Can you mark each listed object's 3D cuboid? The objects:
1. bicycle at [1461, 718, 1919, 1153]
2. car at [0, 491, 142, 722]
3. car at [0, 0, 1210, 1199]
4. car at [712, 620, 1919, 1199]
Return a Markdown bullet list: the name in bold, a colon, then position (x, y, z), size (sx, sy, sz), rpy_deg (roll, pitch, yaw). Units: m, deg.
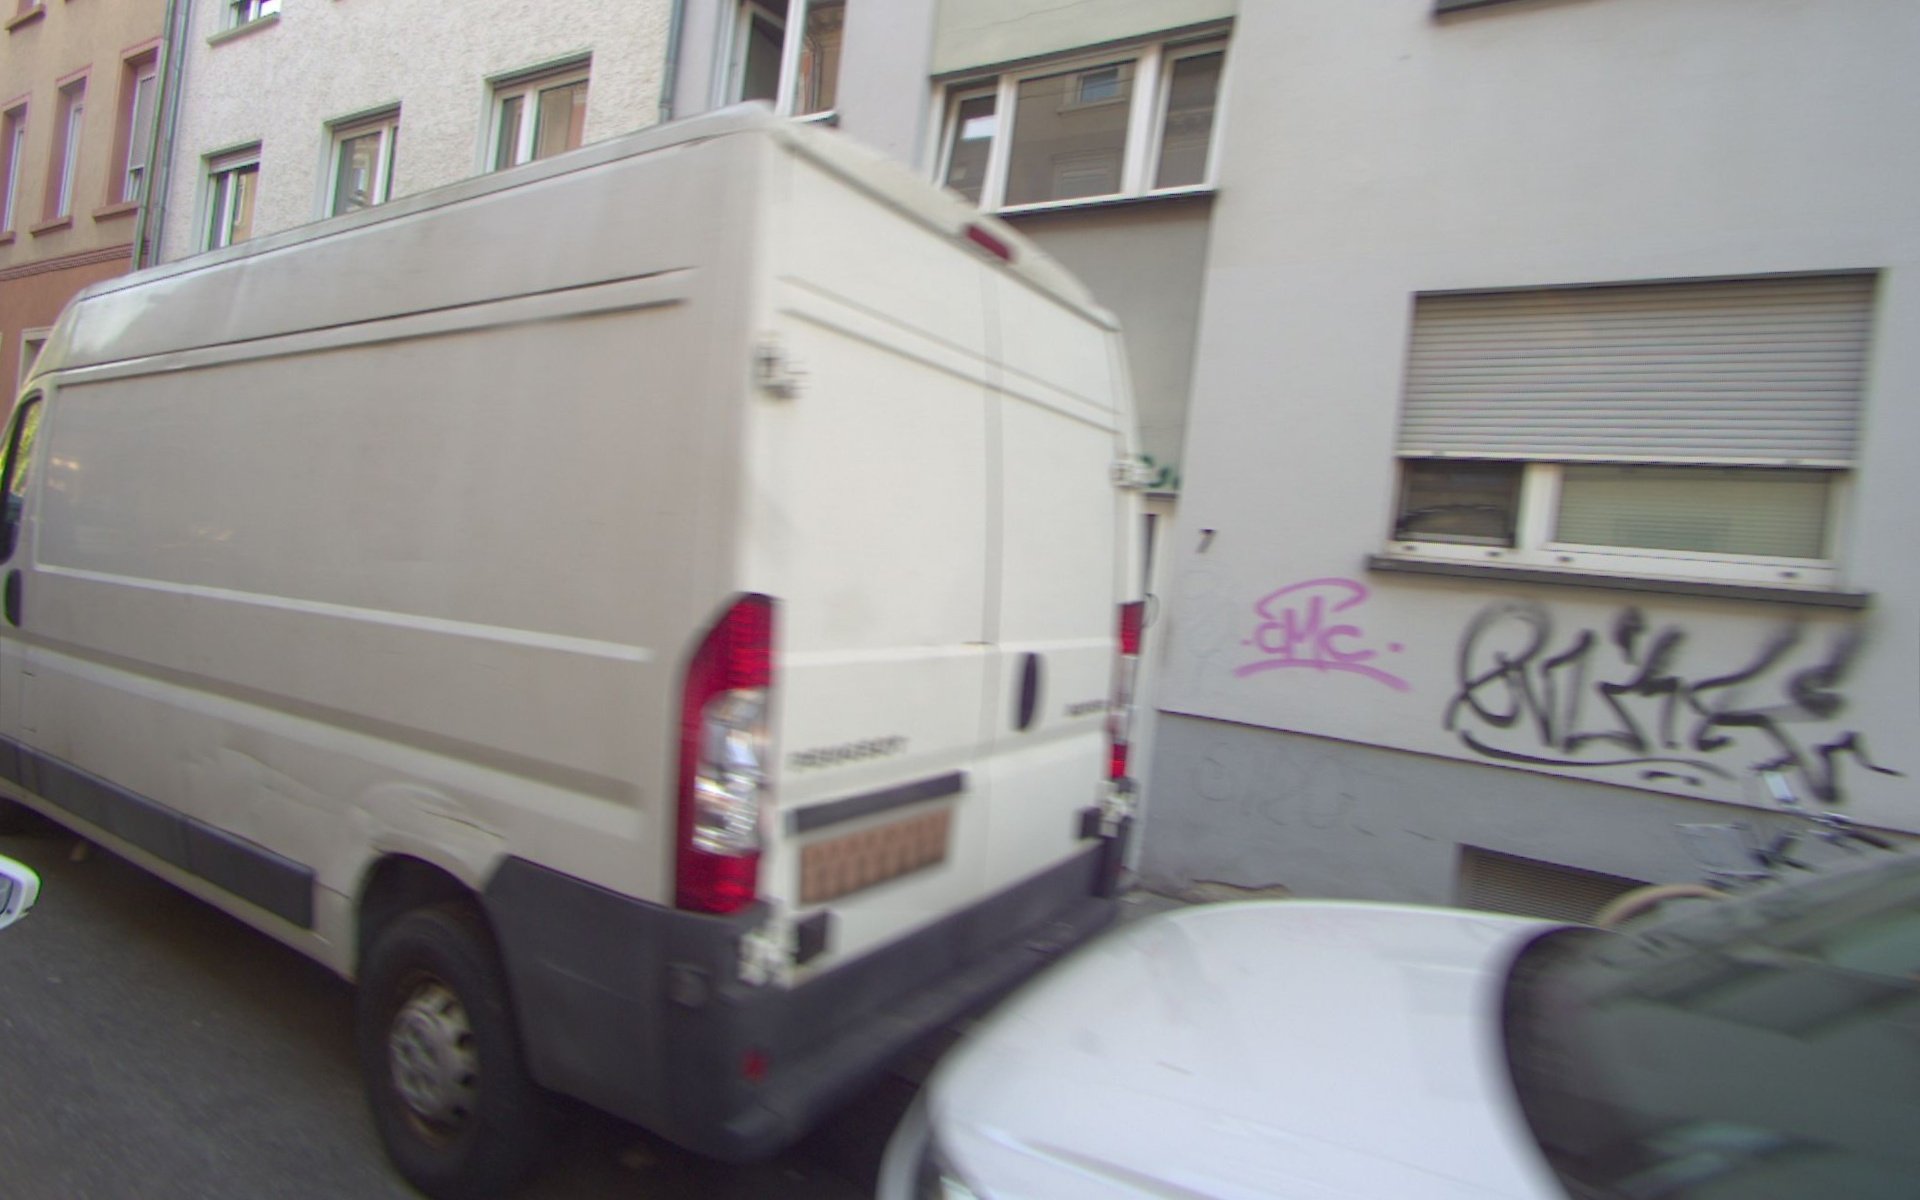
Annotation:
- **bicycle**: position (3.193, 1.221, 3.650), size (2.313, 1.174, 0.628), rpy_deg (7, 3, 31)
- **car**: position (-7.998, -0.169, 7.303), size (3.951, 1.488, 1.734), rpy_deg (7, 0, 28)
- **car**: position (-2.334, -0.032, 4.189), size (5.935, 2.582, 2.207), rpy_deg (7, 0, 31)
- **car**: position (1.702, 1.005, 1.226), size (3.767, 1.447, 1.728), rpy_deg (7, 0, 30)
